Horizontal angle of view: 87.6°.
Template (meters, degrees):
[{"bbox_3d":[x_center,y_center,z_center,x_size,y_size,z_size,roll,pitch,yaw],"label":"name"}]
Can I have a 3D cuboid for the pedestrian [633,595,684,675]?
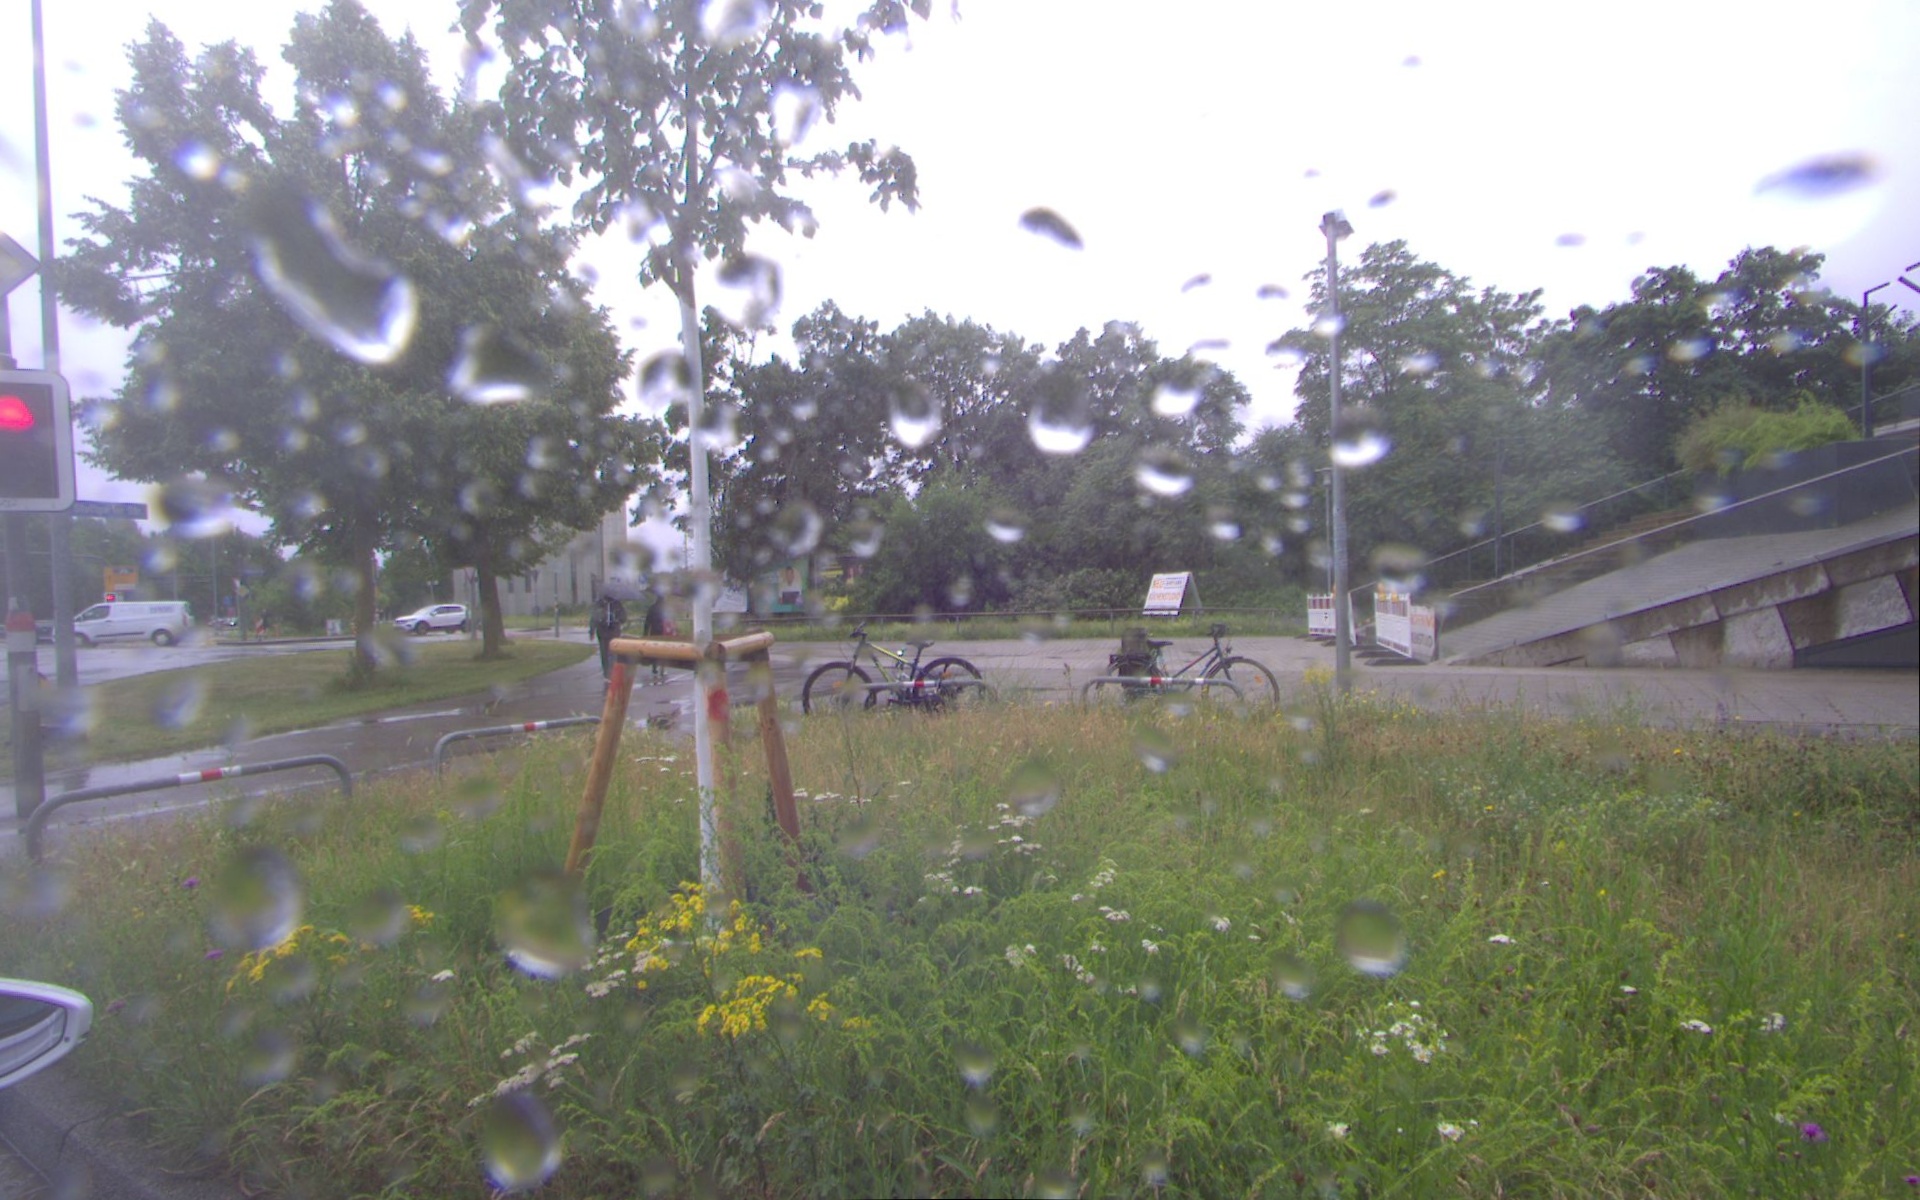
[{"bbox_3d":[-5.788,0.665,19.228,0.564,1.480,0.679,-1,1,28],"label":"pedestrian"}]

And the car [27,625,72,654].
[{"bbox_3d":[-49.875,2.117,54.841,3.947,1.473,1.608,-1,0,45],"label":"car"}]

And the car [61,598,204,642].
[{"bbox_3d":[-37.267,0.924,45.291,4.709,1.874,1.990,1,-2,-31],"label":"car"}]

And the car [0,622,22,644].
[{"bbox_3d":[-76.706,2.638,79.472,1.771,1.683,3.994,0,-2,-18],"label":"car"}]

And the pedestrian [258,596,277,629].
[{"bbox_3d":[-41.373,0.751,59.838,0.660,1.892,0.813,-2,-2,40],"label":"pedestrian"}]

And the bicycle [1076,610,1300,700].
[{"bbox_3d":[2.094,0.513,9.284,1.972,0.796,0.454,-1,-2,16],"label":"bicycle"}]

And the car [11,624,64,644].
[{"bbox_3d":[-79.768,2.973,86.628,1.770,1.683,3.995,0,-2,-16],"label":"car"}]

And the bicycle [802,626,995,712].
[{"bbox_3d":[-0.584,0.660,9.662,1.823,0.797,0.380,0,-2,-2],"label":"bicycle"}]

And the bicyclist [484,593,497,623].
[{"bbox_3d":[-28.581,0.489,60.924,0.491,1.764,0.586,-2,-2,44],"label":"bicyclist"}]

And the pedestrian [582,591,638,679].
[{"bbox_3d":[-6.292,0.619,18.001,0.730,1.542,0.620,-1,-1,31],"label":"pedestrian"}]

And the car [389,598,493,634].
[{"bbox_3d":[-28.193,0.833,54.565,1.969,1.876,4.755,-1,0,29],"label":"car"}]
